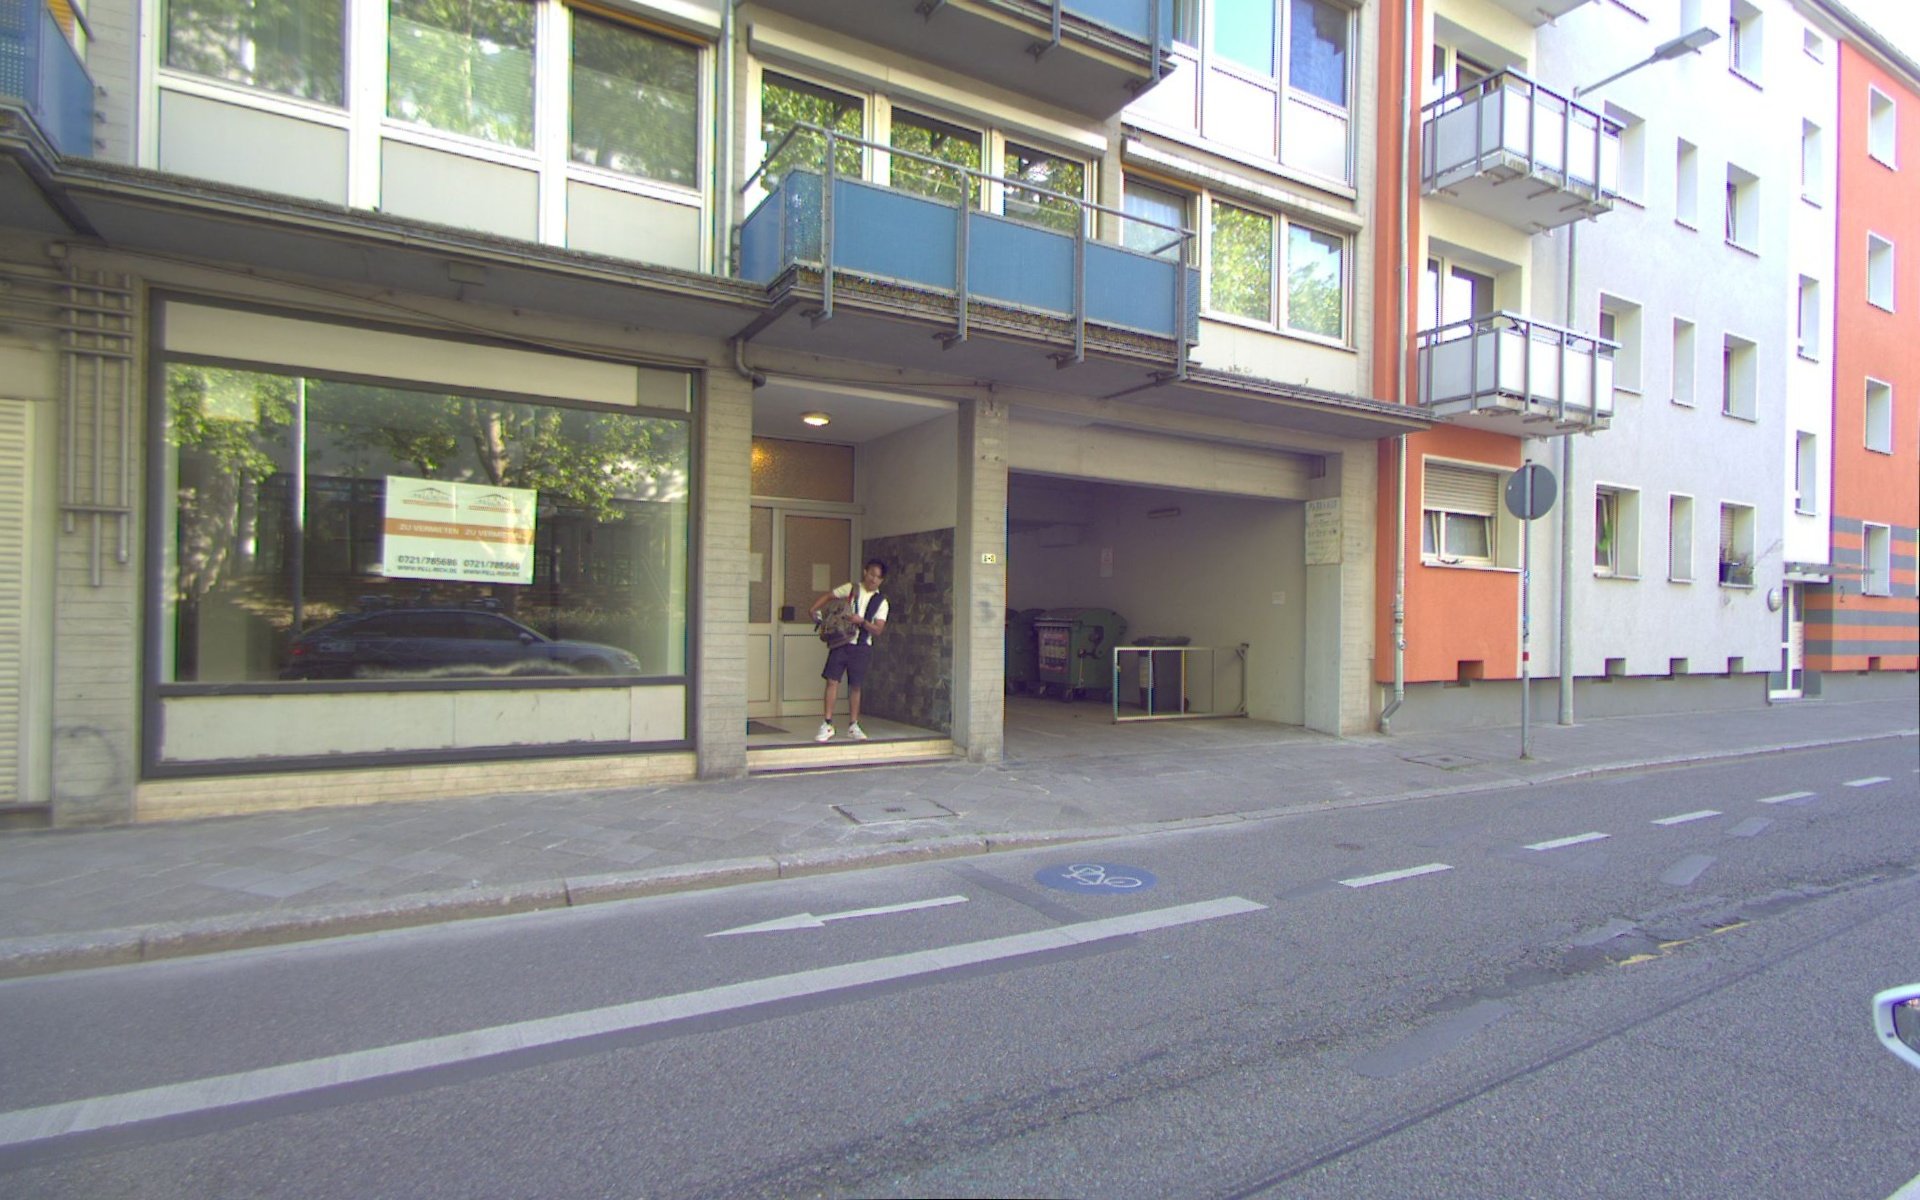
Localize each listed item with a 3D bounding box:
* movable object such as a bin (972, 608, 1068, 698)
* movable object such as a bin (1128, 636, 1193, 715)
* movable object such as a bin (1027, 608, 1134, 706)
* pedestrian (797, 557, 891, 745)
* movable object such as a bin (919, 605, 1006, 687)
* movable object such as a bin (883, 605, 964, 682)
[{"bbox_3d":[1.011,0.884,17.164,1.120,1.444,1.268,2,0,-28],"label":"movable object such as a bin"},{"bbox_3d":[2.891,1.075,14.499,0.713,1.094,0.533,2,0,-29],"label":"movable object such as a bin"},{"bbox_3d":[1.879,0.875,15.823,1.120,1.444,1.268,2,0,-28],"label":"movable object such as a bin"},{"bbox_3d":[-1.058,0.453,9.260,0.778,1.639,0.836,2,0,-5],"label":"pedestrian"},{"bbox_3d":[0.035,0.833,18.709,1.120,1.444,1.268,2,0,-28],"label":"movable object such as a bin"},{"bbox_3d":[-0.738,0.837,19.800,1.120,1.444,1.268,2,0,-28],"label":"movable object such as a bin"}]
